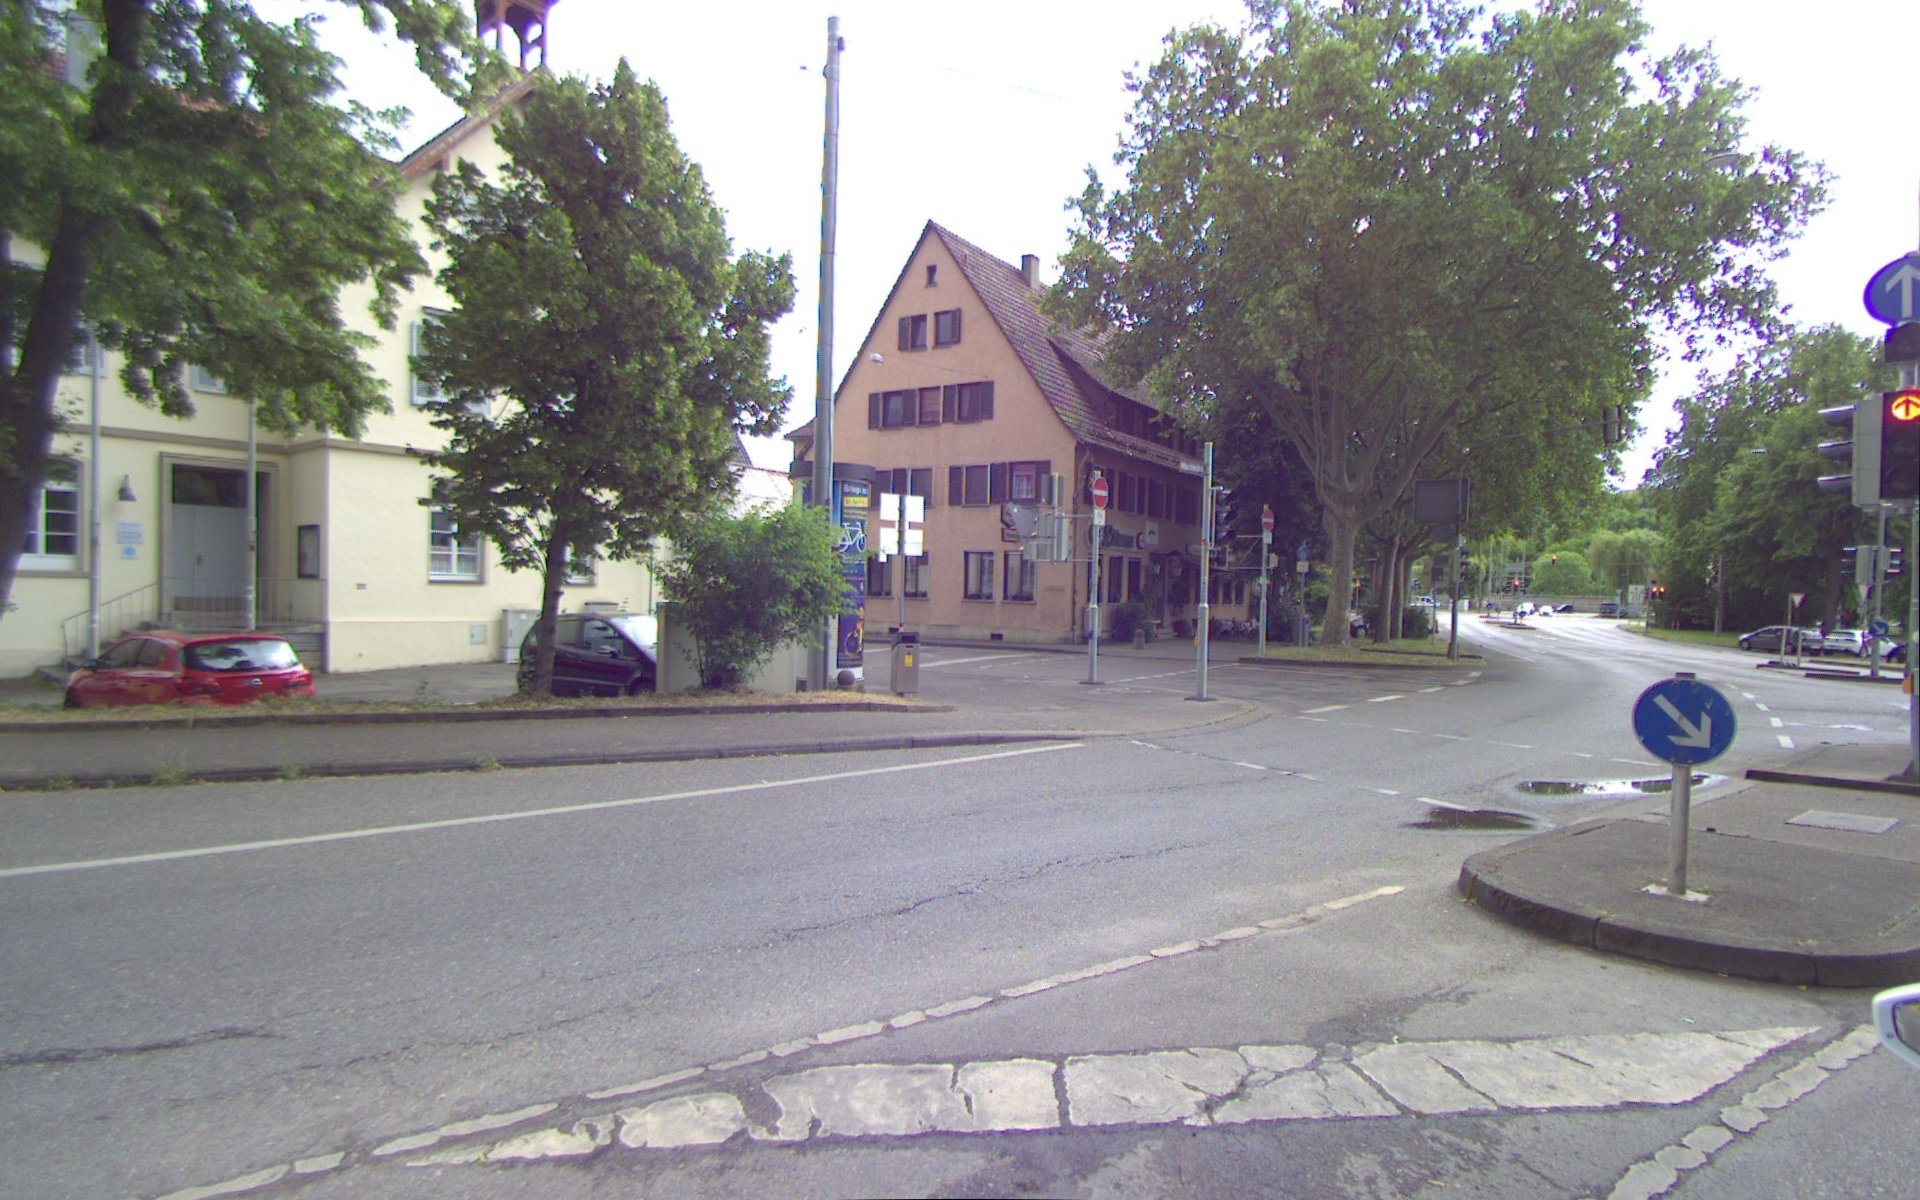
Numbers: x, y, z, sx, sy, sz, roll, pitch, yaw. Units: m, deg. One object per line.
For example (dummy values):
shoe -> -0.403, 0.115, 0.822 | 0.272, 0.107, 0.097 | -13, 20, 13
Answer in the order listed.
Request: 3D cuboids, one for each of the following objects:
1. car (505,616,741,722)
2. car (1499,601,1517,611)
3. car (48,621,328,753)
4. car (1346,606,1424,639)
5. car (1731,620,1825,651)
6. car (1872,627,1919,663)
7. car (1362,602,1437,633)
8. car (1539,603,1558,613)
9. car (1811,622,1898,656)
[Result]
car -> -5.530, 1.053, 16.445 | 3.507, 1.459, 1.644 | 2, 0, 26
car -> 85.296, 0.977, 156.395 | 1.553, 1.506, 3.337 | 3, 0, 12
car -> -10.292, 1.048, 13.359 | 3.653, 1.401, 1.659 | 2, 0, 30
car -> 24.000, 1.256, 56.710 | 3.924, 1.706, 1.998 | 1, 0, 25
car -> 43.821, 1.883, 53.909 | 1.592, 1.485, 3.778 | 2, 0, -11
car -> 39.449, 1.865, 40.767 | 1.746, 1.370, 3.326 | 2, 0, -2
car -> 25.733, 1.013, 58.786 | 3.924, 1.706, 1.998 | 1, 0, 25
car -> 91.026, 1.302, 155.370 | 1.469, 1.436, 3.028 | 3, 0, 11
car -> 47.465, 2.045, 53.328 | 3.696, 1.662, 1.859 | 2, 0, -19
